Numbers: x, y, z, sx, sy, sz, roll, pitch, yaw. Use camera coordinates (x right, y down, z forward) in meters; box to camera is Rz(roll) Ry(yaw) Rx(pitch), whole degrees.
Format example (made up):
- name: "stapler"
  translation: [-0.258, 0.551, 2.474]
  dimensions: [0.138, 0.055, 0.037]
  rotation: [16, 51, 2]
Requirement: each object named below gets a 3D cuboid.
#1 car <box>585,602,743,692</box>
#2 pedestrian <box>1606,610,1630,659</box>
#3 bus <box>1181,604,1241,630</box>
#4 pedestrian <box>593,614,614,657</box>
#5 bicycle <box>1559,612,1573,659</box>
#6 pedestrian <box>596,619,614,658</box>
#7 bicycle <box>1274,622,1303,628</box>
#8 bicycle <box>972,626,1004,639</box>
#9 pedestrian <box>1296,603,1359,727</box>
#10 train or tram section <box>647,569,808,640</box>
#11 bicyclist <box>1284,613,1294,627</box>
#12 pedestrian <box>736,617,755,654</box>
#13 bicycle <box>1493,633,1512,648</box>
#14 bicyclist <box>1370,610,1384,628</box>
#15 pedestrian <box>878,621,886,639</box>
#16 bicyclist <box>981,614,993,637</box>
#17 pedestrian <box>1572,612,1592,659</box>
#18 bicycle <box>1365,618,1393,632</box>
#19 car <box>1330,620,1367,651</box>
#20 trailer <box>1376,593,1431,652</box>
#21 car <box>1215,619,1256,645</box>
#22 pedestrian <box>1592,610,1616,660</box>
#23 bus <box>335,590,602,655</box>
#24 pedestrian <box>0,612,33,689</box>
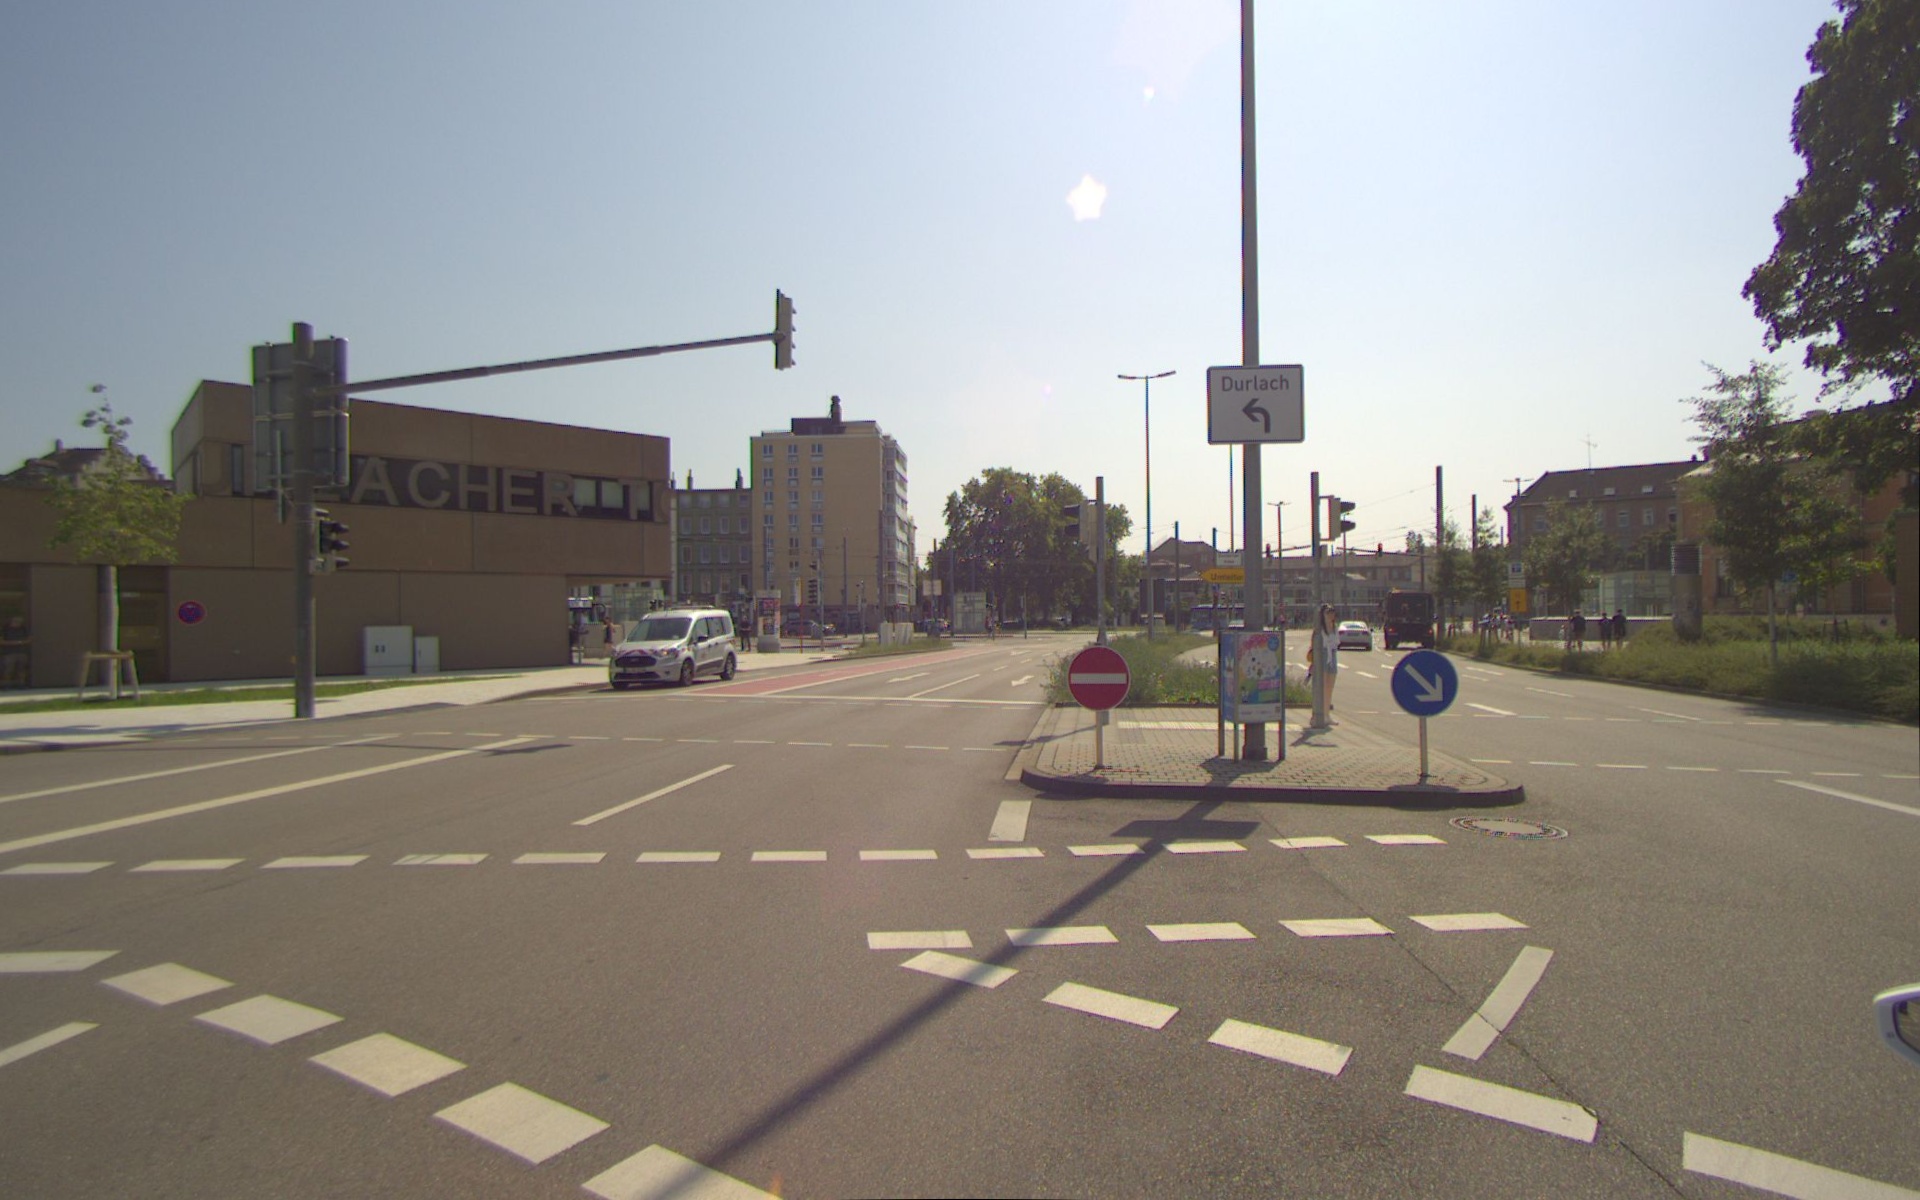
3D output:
- name: "car"
  translation: [-6.970, 1.065, 24.193]
  dimensions: [1.960, 1.884, 4.337]
  rotation: [-3, -1, 8]
- name: "pedestrian"
  translation: [26.863, 1.408, 41.019]
  dimensions: [0.767, 1.999, 0.751]
  rotation: [-1, -1, 35]
- name: "bus"
  translation: [31.060, 2.084, 123.848]
  dimensions: [3.014, 2.970, 11.809]
  rotation: [-1, -1, 36]
- name: "pedestrian"
  translation: [-15.158, 1.497, 42.743]
  dimensions: [0.685, 1.786, 0.549]
  rotation: [-1, -1, 33]
- name: "bicycle"
  translation: [24.778, 1.430, 41.061]
  dimensions: [0.449, 1.885, 1.360]
  rotation: [-1, -1, 32]
- name: "pedestrian"
  translation: [-14.393, 1.548, 40.728]
  dimensions: [0.568, 1.558, 0.485]
  rotation: [0, -1, -44]
- name: "bicycle"
  translation: [36.500, 2.775, 111.534]
  dimensions: [2.886, 0.737, 0.865]
  rotation: [-1, -1, 2]
- name: "bicycle"
  translation: [2.075, 2.409, 74.243]
  dimensions: [2.368, 0.966, 0.604]
  rotation: [-1, -1, 3]
- name: "pedestrian"
  translation: [5.279, 0.917, 14.423]
  dimensions: [0.689, 1.717, 0.605]
  rotation: [-1, -1, 36]
- name: "train or tram section"
  translation: [-12.735, 0.232, 55.676]
  dimensions: [8.187, 3.617, 3.105]
  rotation: [-1, -1, -44]
- name: "bicyclist"
  translation: [36.512, 2.183, 111.535]
  dimensions: [0.888, 1.521, 0.865]
  rotation: [-1, -1, 2]
- name: "pedestrian"
  translation: [-10.150, 1.665, 47.524]
  dimensions: [0.633, 1.725, 0.810]
  rotation: [-1, -1, 7]
- name: "bicycle"
  translation: [30.805, 2.279, 57.058]
  dimensions: [0.663, 0.787, 2.127]
  rotation: [-1, -1, 22]
- name: "bicyclist"
  translation: [38.753, 1.755, 93.405]
  dimensions: [0.958, 1.676, 0.661]
  rotation: [0, -1, -13]
- name: "pedestrian"
  translation: [-7.156, 2.781, 92.374]
  dimensions: [0.637, 1.654, 0.815]
  rotation: [-1, -1, 3]
- name: "bicyclist"
  translation: [2.015, 1.875, 74.253]
  dimensions: [0.824, 1.664, 0.607]
  rotation: [-1, -1, 2]
- name: "pedestrian"
  translation: [25.372, 1.424, 40.985]
  dimensions: [0.650, 1.885, 0.791]
  rotation: [-1, -1, 32]
- name: "bicycle"
  translation: [38.814, 2.313, 93.165]
  dimensions: [0.958, 1.194, 2.825]
  rotation: [0, -1, -12]
- name: "car"
  translation: [20.236, 1.831, 52.435]
  dimensions: [1.729, 1.474, 4.425]
  rotation: [0, -1, 21]
- name: "trailer"
  translation: [24.358, 1.207, 55.359]
  dimensions: [2.423, 3.048, 6.324]
  rotation: [1, 0, 21]
- name: "car"
  translation: [16.382, 1.885, 59.580]
  dimensions: [1.730, 1.423, 3.978]
  rotation: [0, -1, 24]
- name: "pedestrian"
  translation: [26.005, 1.399, 40.536]
  dimensions: [0.767, 1.999, 0.751]
  rotation: [-1, -1, 35]
- name: "bus"
  translation: [-25.685, 1.159, 53.334]
  dimensions: [12.394, 3.111, 3.068]
  rotation: [1, -2, -43]
- name: "pedestrian"
  translation: [-21.272, 1.130, 22.646]
  dimensions: [0.532, 1.700, 0.561]
  rotation: [0, -1, -44]
